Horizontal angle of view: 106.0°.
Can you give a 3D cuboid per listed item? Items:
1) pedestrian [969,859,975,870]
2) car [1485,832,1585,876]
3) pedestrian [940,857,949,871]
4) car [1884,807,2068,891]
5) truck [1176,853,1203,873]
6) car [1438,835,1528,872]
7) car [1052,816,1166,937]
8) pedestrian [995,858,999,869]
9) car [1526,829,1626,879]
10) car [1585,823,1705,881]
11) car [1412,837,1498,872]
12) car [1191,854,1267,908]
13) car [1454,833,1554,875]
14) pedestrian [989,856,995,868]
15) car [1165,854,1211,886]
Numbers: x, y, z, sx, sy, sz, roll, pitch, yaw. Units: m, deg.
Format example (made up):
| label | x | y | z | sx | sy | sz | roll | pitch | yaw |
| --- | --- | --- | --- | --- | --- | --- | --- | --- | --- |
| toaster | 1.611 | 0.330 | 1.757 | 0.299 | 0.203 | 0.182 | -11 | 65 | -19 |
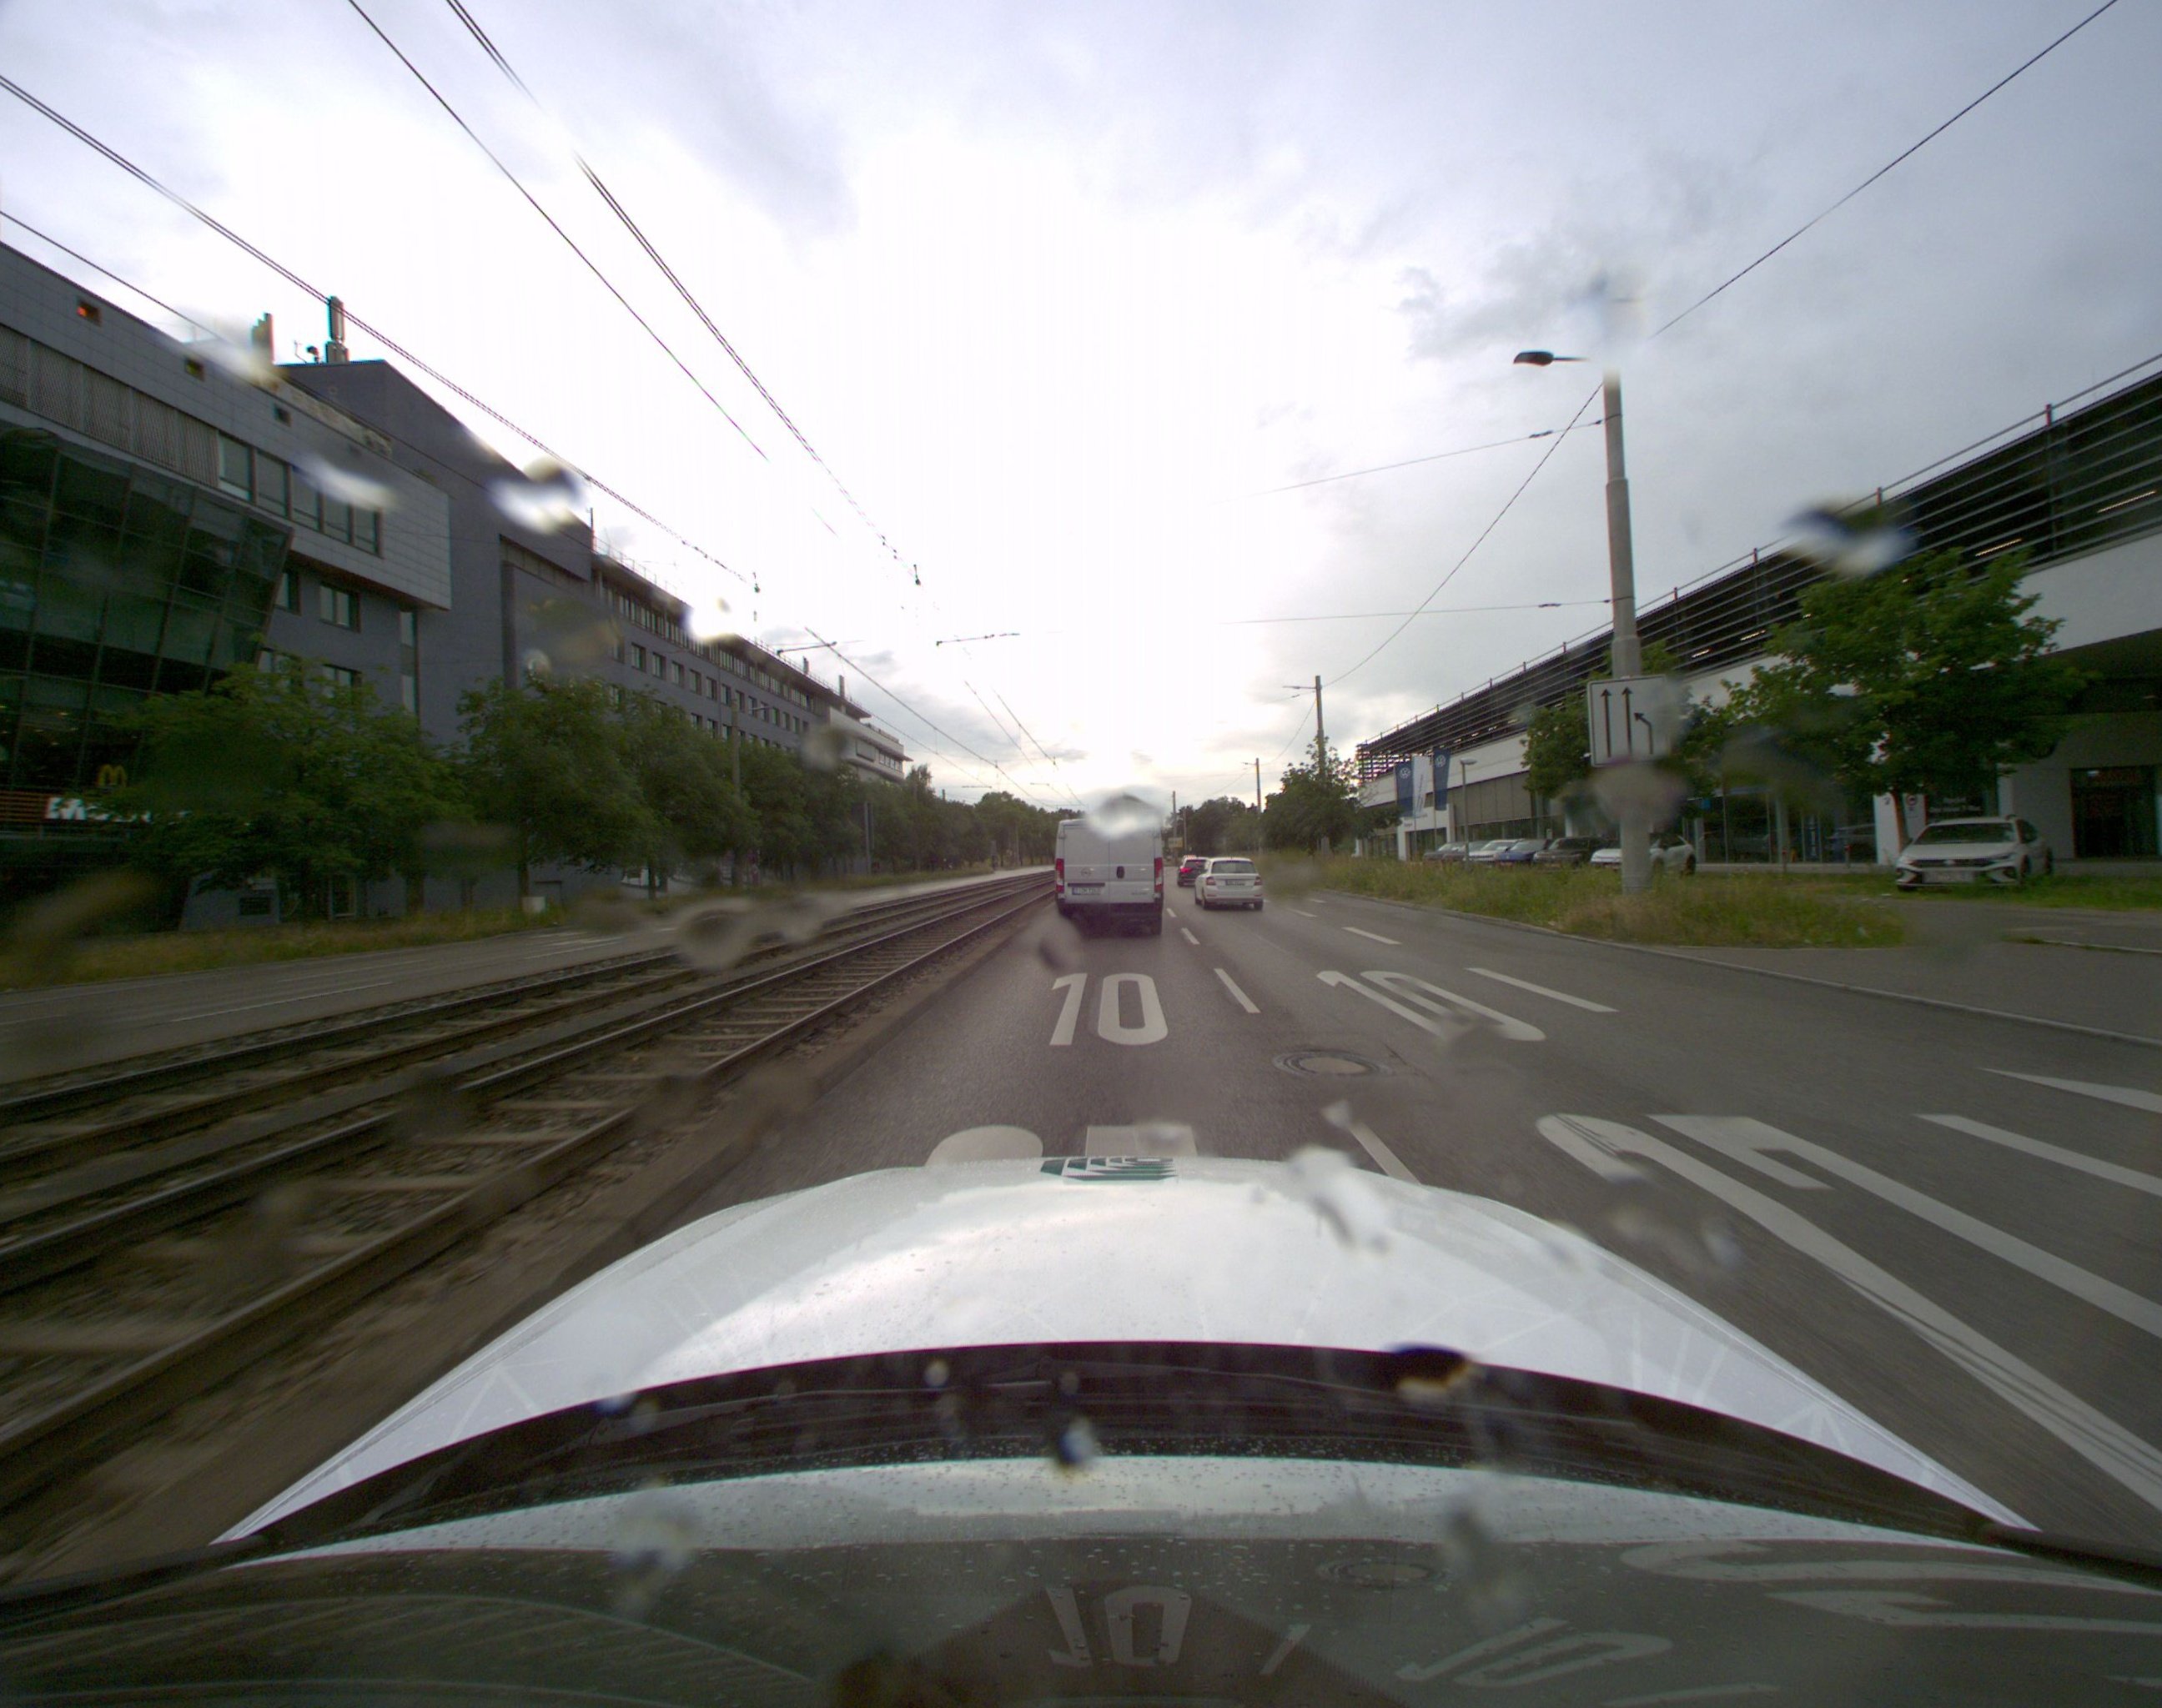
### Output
| label | x | y | z | sx | sy | sz | roll | pitch | yaw |
| --- | --- | --- | --- | --- | --- | --- | --- | --- | --- |
| pedestrian | -17.136 | 1.671 | 127.972 | 0.721 | 1.755 | 0.879 | 0 | 0 | 6 |
| car | 18.941 | -0.013 | 33.958 | 4.206 | 1.568 | 1.780 | -3 | -1 | -33 |
| pedestrian | -20.568 | 1.501 | 122.645 | 0.880 | 2.014 | 0.950 | -2 | -1 | 18 |
| car | 18.526 | -0.119 | 16.824 | 4.114 | 1.465 | 1.731 | -3 | -1 | -31 |
| truck | 10.389 | 0.812 | 78.228 | 1.987 | 1.790 | 4.413 | -3 | 0 | 0 |
| car | 20.184 | -0.039 | 40.858 | 4.388 | 1.568 | 1.782 | -3 | -1 | -29 |
| car | 0.595 | 0.400 | 17.446 | 2.082 | 2.196 | 5.063 | 0 | 0 | 2 |
| pedestrian | -14.377 | 1.626 | 139.680 | 0.503 | 1.787 | 0.834 | 0 | 0 | 8 |
| car | 18.479 | -0.025 | 30.344 | 4.211 | 1.568 | 1.778 | -3 | -1 | -39 |
| car | 18.229 | -0.085 | 26.270 | 4.117 | 1.568 | 1.780 | -3 | -1 | -35 |
| car | 20.625 | 0.020 | 44.870 | 4.638 | 1.568 | 1.835 | -3 | -1 | -28 |
| car | 4.233 | 0.727 | 23.781 | 1.739 | 1.457 | 3.674 | 0 | 0 | 3 |
| car | 19.490 | 0.008 | 37.504 | 4.366 | 1.626 | 1.839 | -3 | -1 | -28 |
| pedestrian | -15.550 | 1.399 | 141.697 | 0.884 | 2.014 | 0.865 | -2 | -1 | -1 |
| car | 5.191 | 0.754 | 39.874 | 1.783 | 1.449 | 4.000 | -1 | 0 | 1 |
